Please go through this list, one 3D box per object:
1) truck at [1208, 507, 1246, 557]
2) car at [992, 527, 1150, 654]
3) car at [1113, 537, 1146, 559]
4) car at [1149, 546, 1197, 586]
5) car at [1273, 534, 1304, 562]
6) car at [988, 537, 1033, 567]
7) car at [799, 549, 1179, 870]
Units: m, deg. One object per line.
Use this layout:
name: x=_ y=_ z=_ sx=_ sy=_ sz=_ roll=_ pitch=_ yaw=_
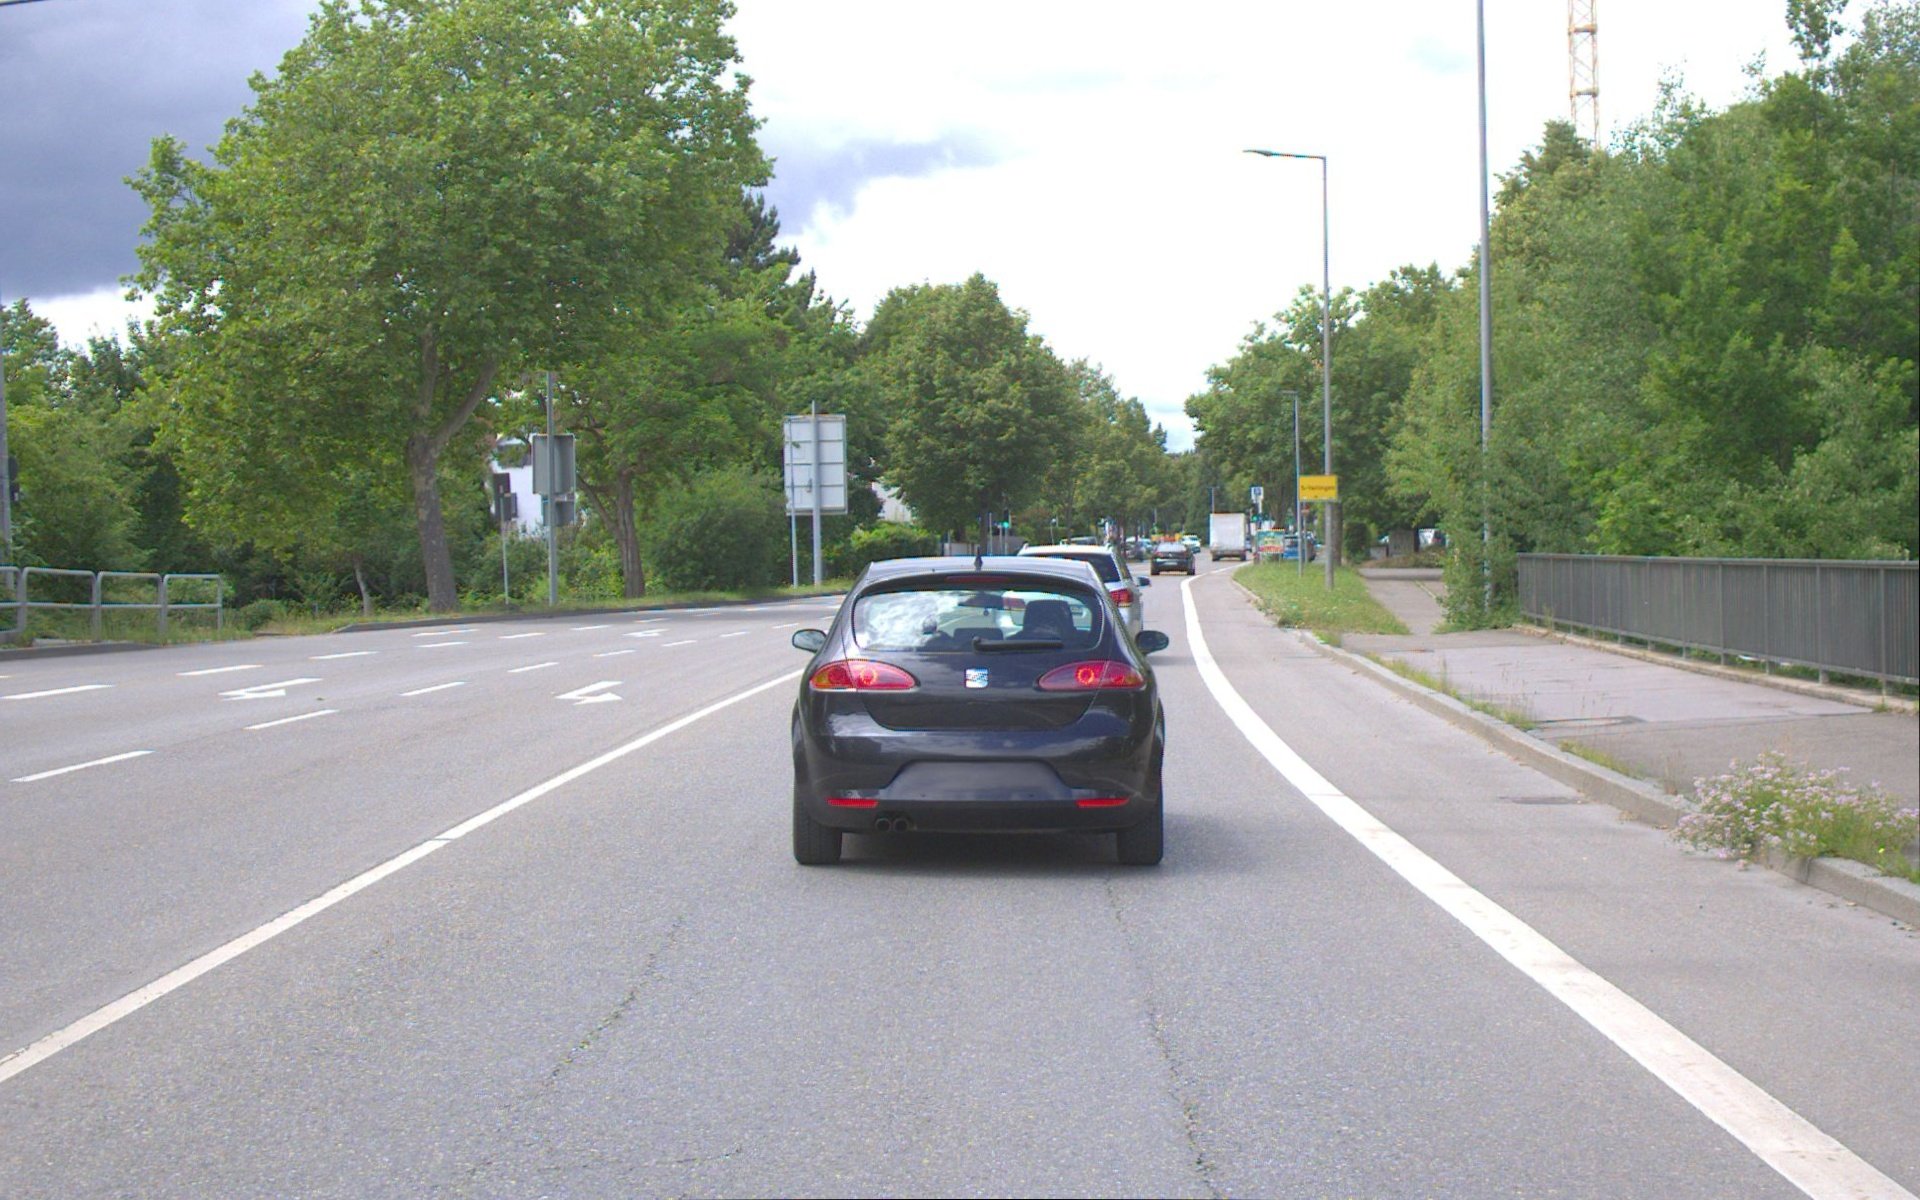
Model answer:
truck: x=17.309 y=-4.373 z=222.768 sx=2.279 sy=3.093 sz=8.509 roll=1 pitch=1 yaw=5
car: x=1.430 y=-0.146 z=43.082 sx=1.846 sy=1.504 sz=3.811 roll=1 pitch=1 yaw=4
car: x=12.712 y=-3.889 z=257.064 sx=2.100 sy=1.501 sz=5.783 roll=-3 pitch=1 yaw=6
car: x=9.300 y=-1.493 z=150.027 sx=1.882 sy=1.683 sz=4.213 roll=-1 pitch=1 yaw=6
car: x=18.463 y=-2.930 z=193.270 sx=1.688 sy=1.485 sz=3.354 roll=-1 pitch=1 yaw=6
car: x=2.530 y=-2.406 z=171.254 sx=1.718 sy=1.390 sz=4.800 roll=-3 pitch=1 yaw=6
car: x=0.180 y=0.454 z=17.047 sx=1.663 sy=1.396 sz=3.812 roll=1 pitch=1 yaw=2
